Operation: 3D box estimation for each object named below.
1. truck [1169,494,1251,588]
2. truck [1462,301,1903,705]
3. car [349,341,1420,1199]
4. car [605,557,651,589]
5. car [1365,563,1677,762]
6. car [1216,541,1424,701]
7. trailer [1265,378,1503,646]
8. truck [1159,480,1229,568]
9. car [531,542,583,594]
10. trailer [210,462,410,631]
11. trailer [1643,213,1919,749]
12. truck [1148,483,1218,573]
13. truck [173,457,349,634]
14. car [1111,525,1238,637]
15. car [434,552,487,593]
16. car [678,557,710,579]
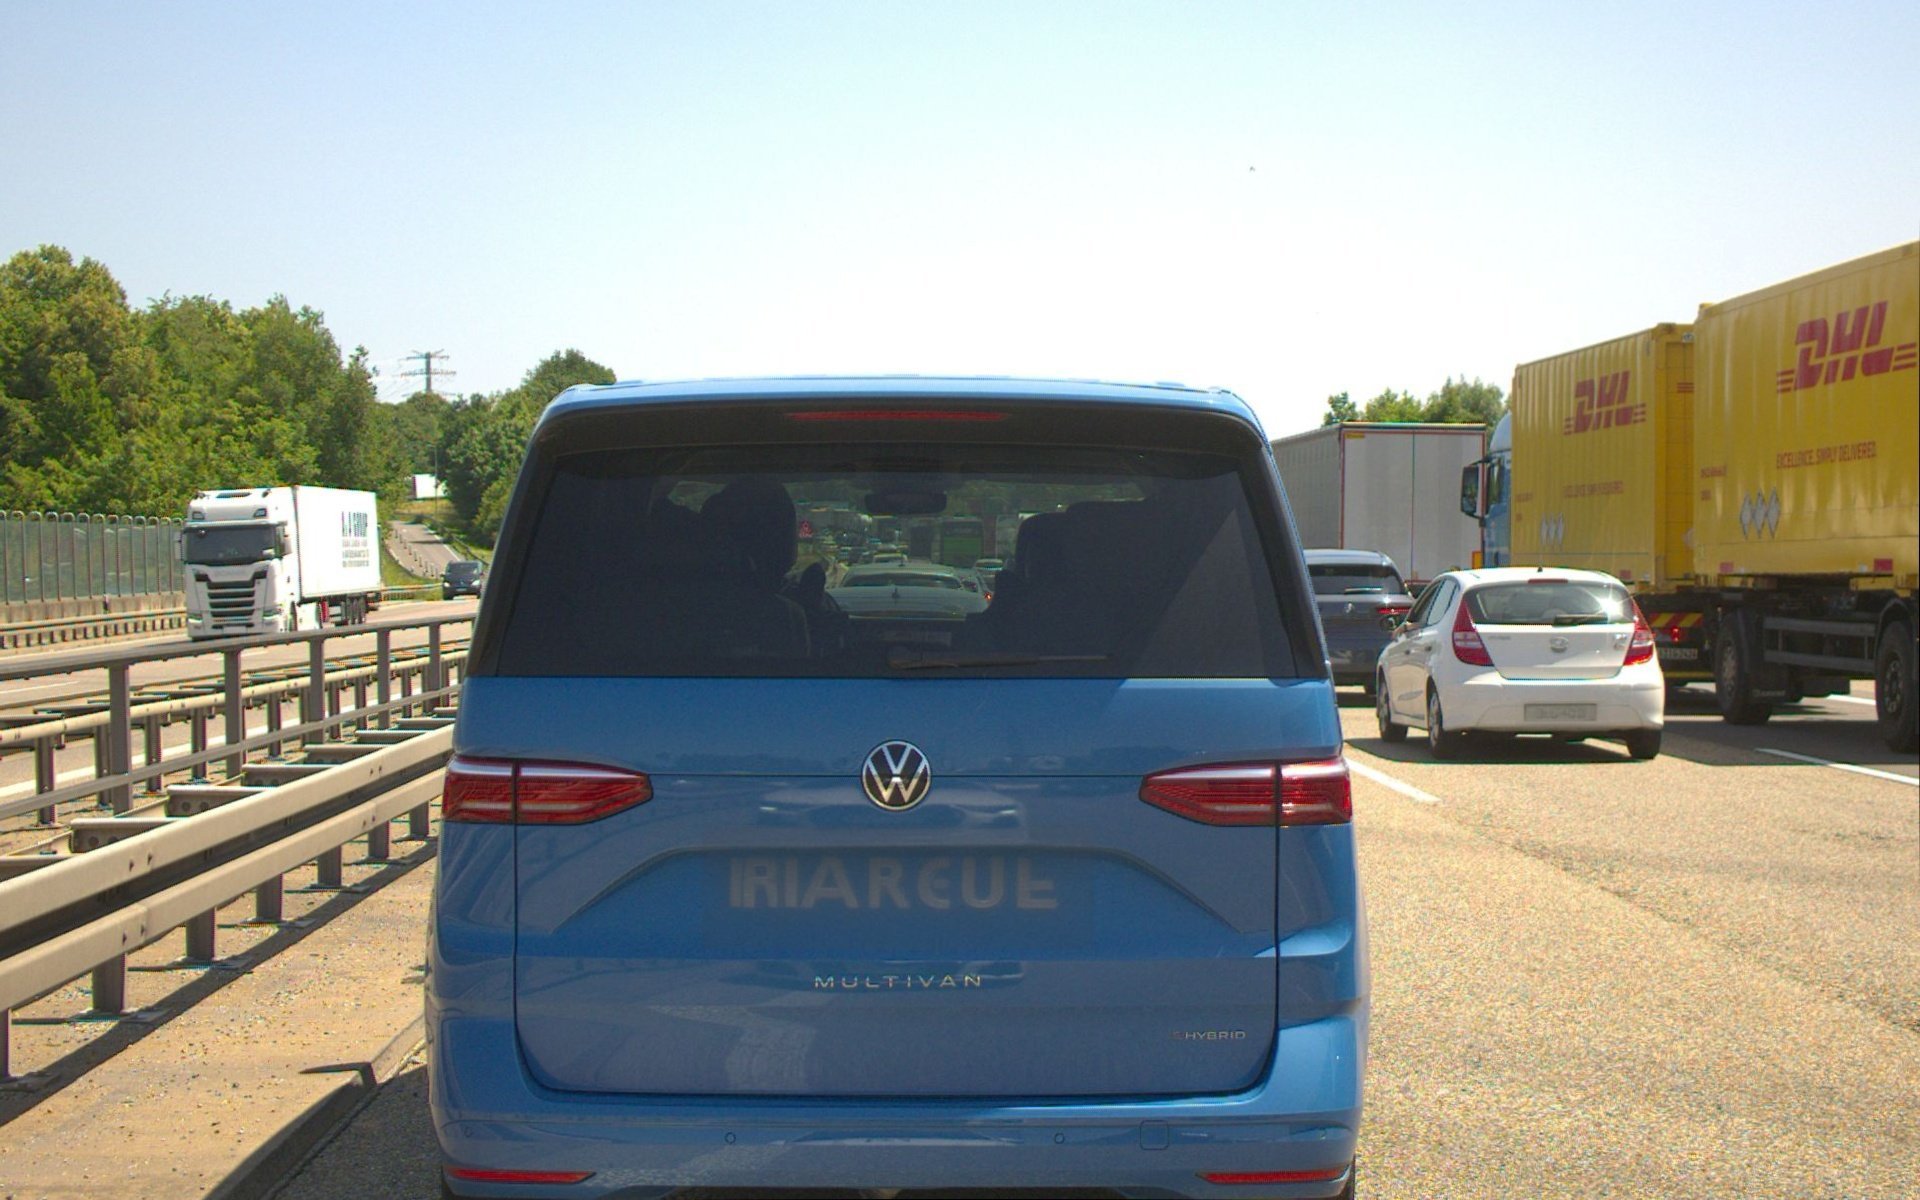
[{"bbox_3d":[6.702,-1.556,92.476,1.798,2.441,4.504,1,0,0],"label":"truck"},{"bbox_3d":[8.084,-1.000,39.984,2.699,4.074,9.940,1,0,-2],"label":"truck"},{"bbox_3d":[-0.164,0.470,8.275,1.930,1.867,4.000,1,0,-1],"label":"car"},{"bbox_3d":[-15.986,-1.296,165.673,1.772,1.486,4.605,-1,1,0],"label":"car"},{"bbox_3d":[4.445,0.461,27.772,1.815,1.465,3.932,1,0,-1],"label":"car"},{"bbox_3d":[3.962,0.218,38.386,1.815,1.673,3.932,1,0,-1],"label":"car"},{"bbox_3d":[7.828,-1.533,64.986,3.026,4.595,10.925,1,0,0],"label":"trailer"},{"bbox_3d":[7.220,-2.326,106.454,1.797,2.587,4.305,1,0,0],"label":"truck"},{"bbox_3d":[-20.881,-1.642,178.451,1.993,2.573,6.651,-2,0,-2],"label":"car"},{"bbox_3d":[-18.011,-1.417,96.262,2.906,4.292,13.661,-2,0,0],"label":"trailer"},{"bbox_3d":[8.476,-0.906,30.535,2.682,4.074,8.981,1,0,-2],"label":"trailer"},{"bbox_3d":[6.525,-2.092,100.938,1.742,2.540,4.210,1,0,0],"label":"truck"},{"bbox_3d":[-18.020,-1.365,89.081,2.929,4.279,6.858,-3,0,0],"label":"truck"},{"bbox_3d":[3.842,-0.345,62.151,1.962,1.929,3.932,1,0,-1],"label":"car"},{"bbox_3d":[-24.616,-1.333,169.561,1.957,1.899,4.951,-2,0,-2],"label":"car"},{"bbox_3d":[-19.772,-2.352,255.871,1.993,1.539,4.386,-2,0,0],"label":"car"}]
